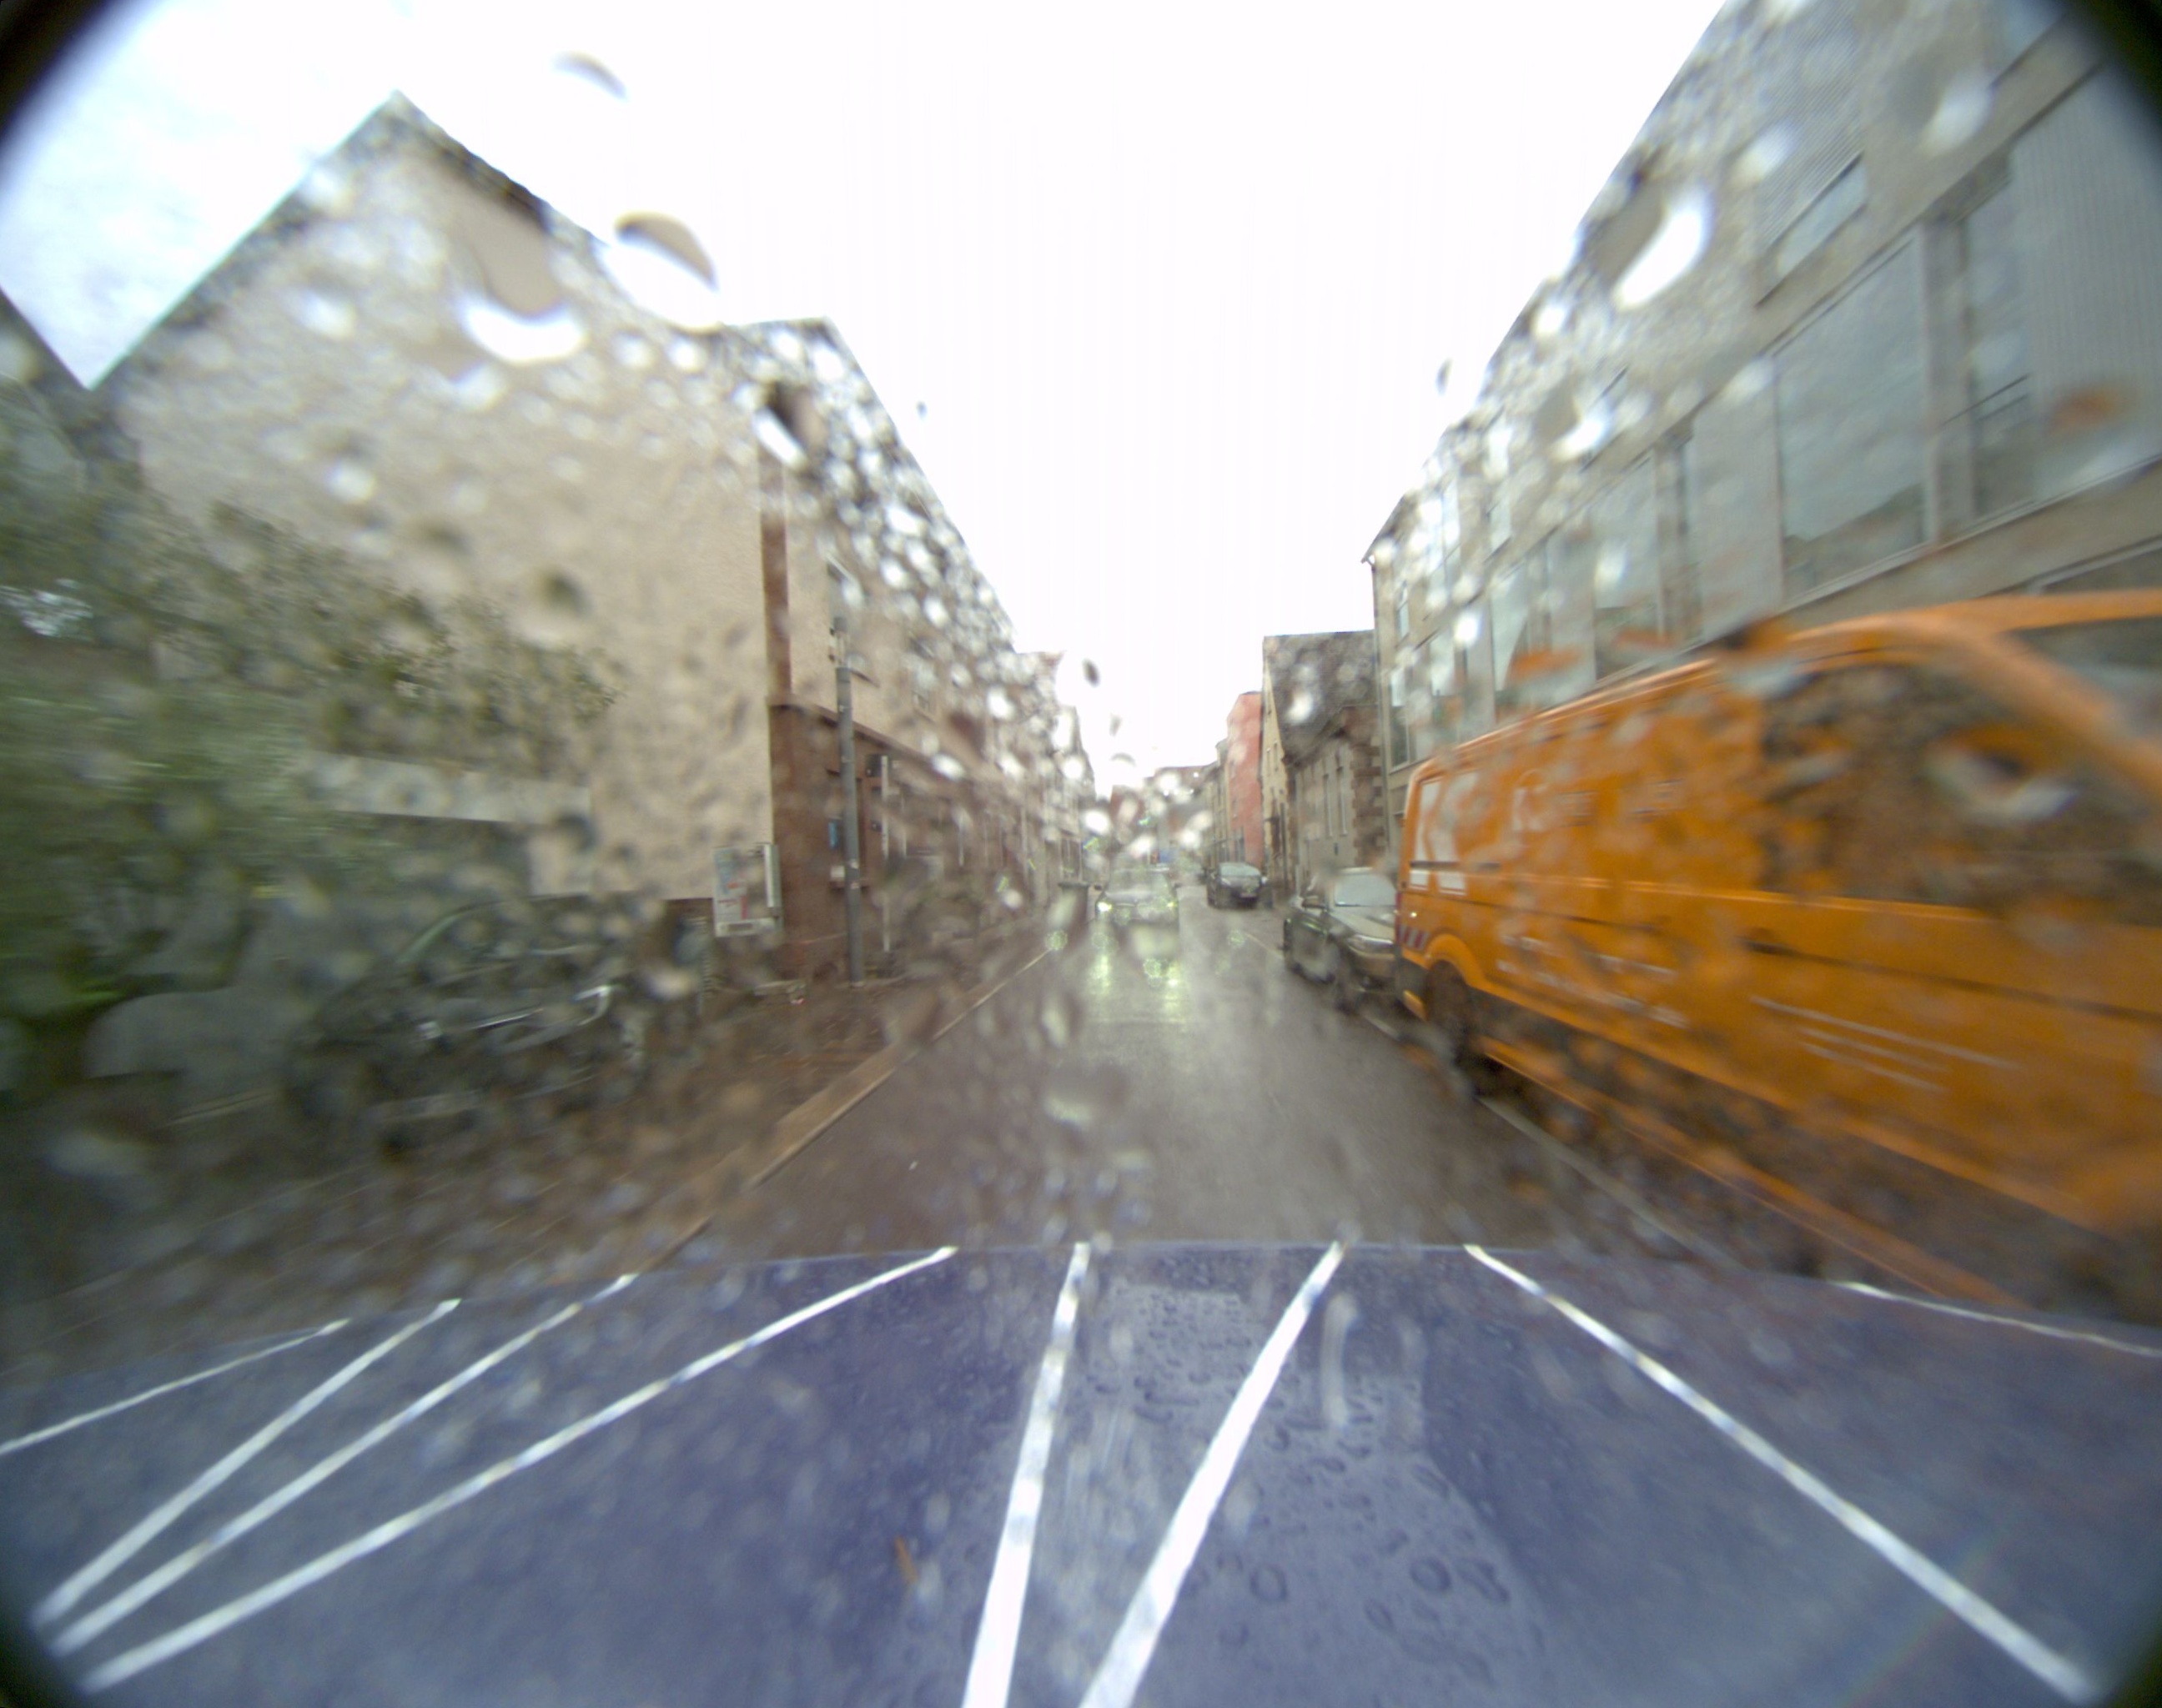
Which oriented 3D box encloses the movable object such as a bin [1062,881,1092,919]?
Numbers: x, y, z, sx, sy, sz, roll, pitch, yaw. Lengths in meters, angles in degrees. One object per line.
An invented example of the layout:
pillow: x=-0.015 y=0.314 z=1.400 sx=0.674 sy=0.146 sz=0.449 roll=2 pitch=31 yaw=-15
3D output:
movable object such as a bin: x=-0.103 y=1.327 z=22.014 sx=0.733 sy=1.016 sz=0.639 roll=-3 pitch=-1 yaw=8

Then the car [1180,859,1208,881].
car: x=7.604 y=1.094 z=51.289 sx=1.631 sy=1.359 sz=3.491 roll=-3 pitch=-1 yaw=6

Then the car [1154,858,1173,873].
car: x=9.125 y=1.244 z=84.186 sx=1.998 sy=1.586 sz=4.002 roll=-2 pitch=0 yaw=5

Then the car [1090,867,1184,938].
car: x=1.465 y=1.068 z=18.207 sx=1.946 sy=1.394 sz=4.422 roll=-1 pitch=0 yaw=8

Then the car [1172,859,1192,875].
car: x=9.064 y=1.154 z=68.612 sx=1.631 sy=1.359 sz=3.491 roll=-3 pitch=-1 yaw=6

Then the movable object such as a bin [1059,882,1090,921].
movable object such as a bin: x=-0.173 y=1.322 z=21.228 sx=0.733 sy=1.016 sz=0.639 roll=-3 pitch=-1 yaw=8

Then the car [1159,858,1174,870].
car: x=10.005 y=1.183 z=89.500 sx=1.631 sy=1.359 sz=3.491 roll=-3 pitch=-1 yaw=6

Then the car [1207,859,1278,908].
car: x=5.449 y=0.953 z=26.095 sx=1.739 sy=1.516 sz=3.932 roll=-2 pitch=0 yaw=3

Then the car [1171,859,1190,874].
car: x=9.605 y=1.202 z=73.243 sx=1.631 sy=1.359 sz=3.491 roll=-3 pitch=-1 yaw=6

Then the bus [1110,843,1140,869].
bus: x=5.777 y=0.318 z=101.692 sx=2.612 sy=3.175 sz=7.372 roll=-2 pitch=0 yaw=-7

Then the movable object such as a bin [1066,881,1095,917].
movable object such as a bin: x=-0.013 y=1.347 z=22.677 sx=0.733 sy=1.016 sz=0.639 roll=-3 pitch=-1 yaw=8

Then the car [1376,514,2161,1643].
car: x=3.195 y=0.434 z=2.993 sx=1.998 sy=2.226 sz=5.863 roll=-2 pitch=0 yaw=3

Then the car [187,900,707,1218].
car: x=-4.223 y=1.153 z=5.938 sx=1.740 sy=1.349 sz=3.931 roll=-2 pitch=0 yaw=-18

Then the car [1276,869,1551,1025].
car: x=3.540 y=0.883 z=9.055 sx=1.760 sy=1.348 sz=4.484 roll=-1 pitch=-1 yaw=7
